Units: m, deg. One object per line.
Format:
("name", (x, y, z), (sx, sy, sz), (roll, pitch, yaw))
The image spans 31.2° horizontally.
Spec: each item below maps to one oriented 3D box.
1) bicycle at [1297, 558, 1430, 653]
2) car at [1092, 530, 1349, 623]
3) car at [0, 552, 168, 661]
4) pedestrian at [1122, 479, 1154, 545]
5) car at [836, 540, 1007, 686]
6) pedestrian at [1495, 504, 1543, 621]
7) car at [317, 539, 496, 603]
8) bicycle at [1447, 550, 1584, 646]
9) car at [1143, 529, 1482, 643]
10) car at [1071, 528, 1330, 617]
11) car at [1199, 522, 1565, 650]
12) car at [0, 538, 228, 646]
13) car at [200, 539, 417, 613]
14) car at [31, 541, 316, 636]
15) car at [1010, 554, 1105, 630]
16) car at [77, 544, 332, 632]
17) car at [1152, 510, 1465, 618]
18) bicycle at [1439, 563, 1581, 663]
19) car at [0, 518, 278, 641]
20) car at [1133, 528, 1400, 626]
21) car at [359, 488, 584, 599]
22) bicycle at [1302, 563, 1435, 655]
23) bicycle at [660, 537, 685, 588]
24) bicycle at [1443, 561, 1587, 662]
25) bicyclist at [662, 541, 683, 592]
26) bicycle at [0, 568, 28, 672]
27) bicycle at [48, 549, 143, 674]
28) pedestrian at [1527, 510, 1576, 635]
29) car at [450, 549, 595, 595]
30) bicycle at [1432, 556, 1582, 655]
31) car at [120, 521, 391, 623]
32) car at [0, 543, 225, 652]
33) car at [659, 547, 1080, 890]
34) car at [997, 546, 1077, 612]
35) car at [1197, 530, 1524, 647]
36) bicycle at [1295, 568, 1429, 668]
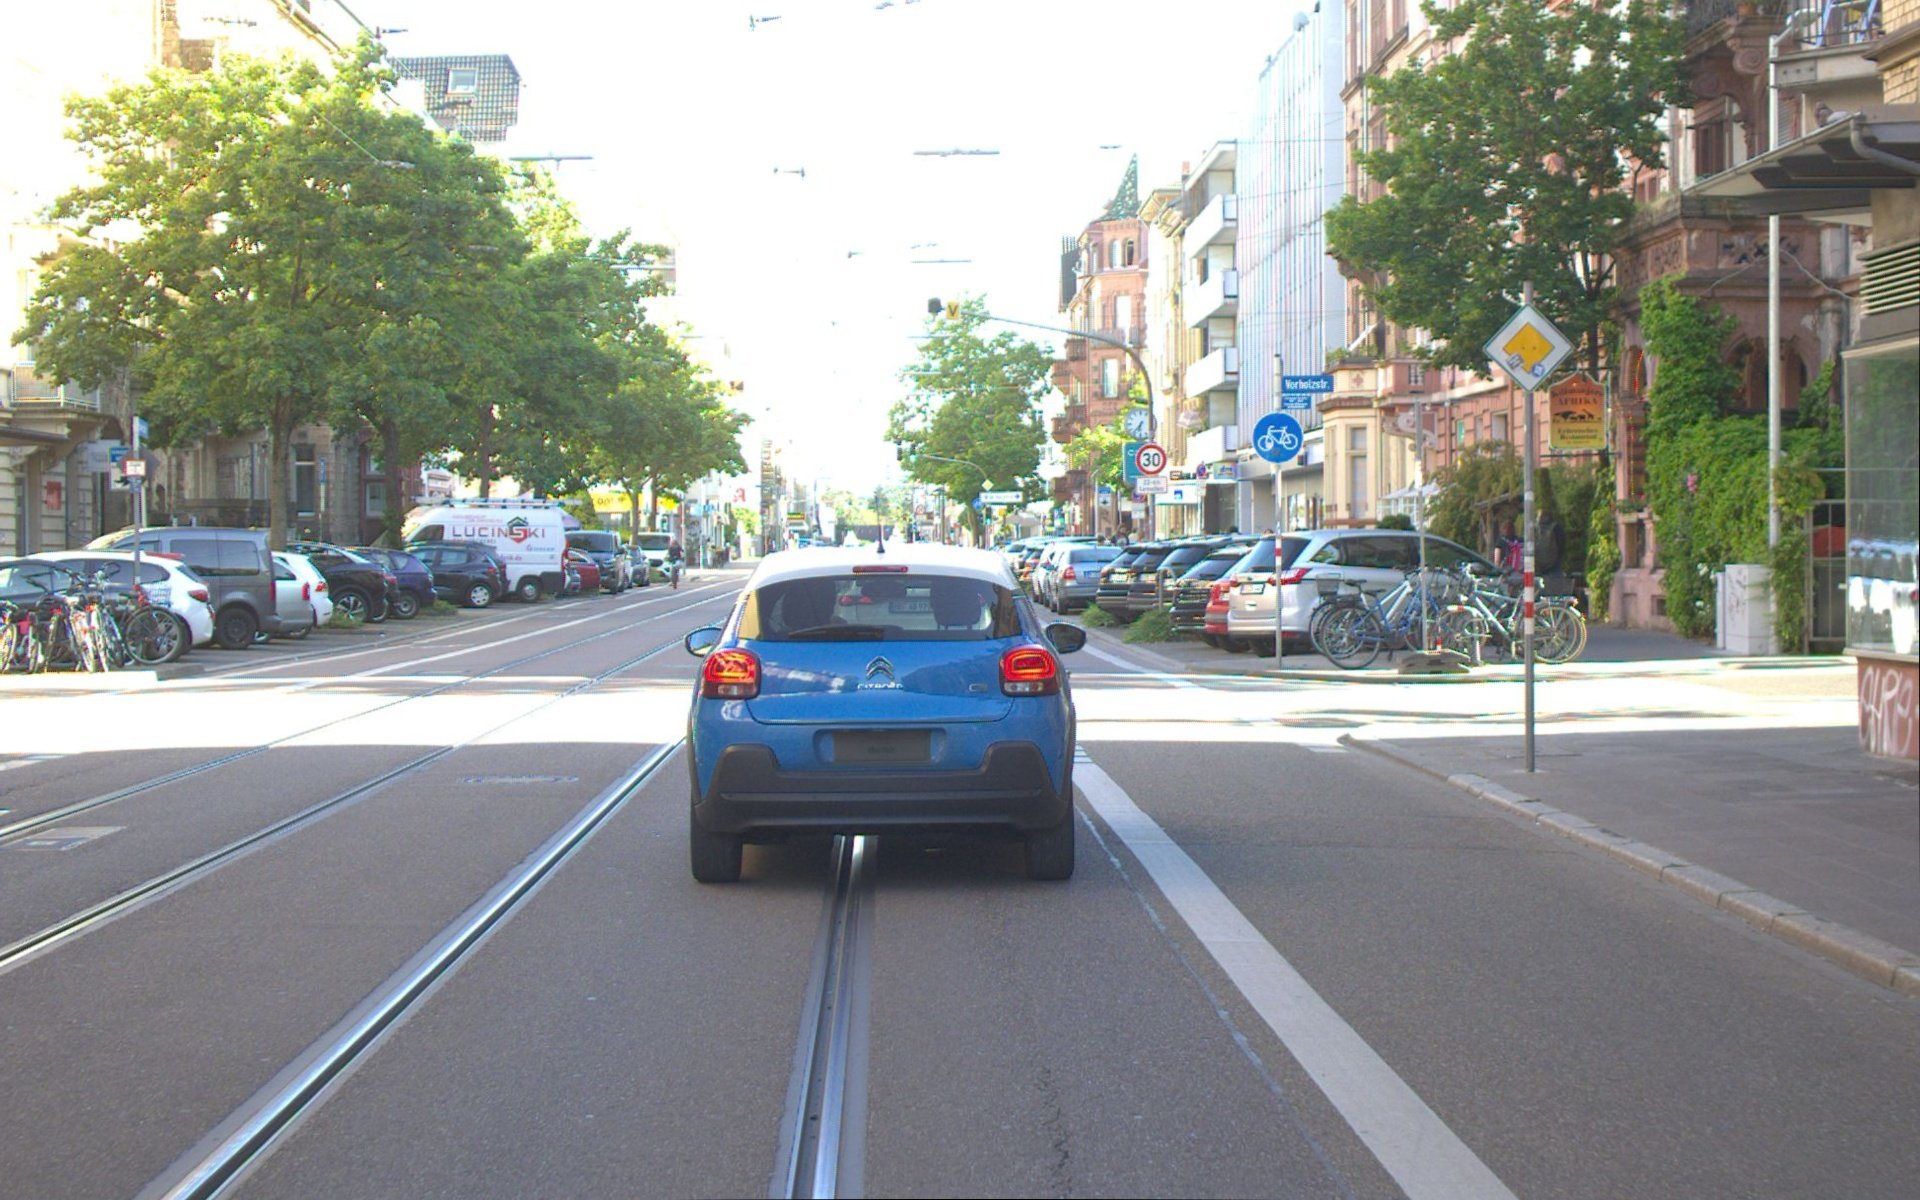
("bicycle", (4.804, 0.062, 41.010), (1.560, 1.123, 0.294), (0, 0, 6))
("car", (4.575, -0.418, 60.482), (3.986, 1.590, 2.088), (0, 1, -25))
("car", (-11.777, 0.068, 42.602), (3.460, 1.333, 1.624), (0, 1, -35))
("pedestrian", (4.329, -2.135, 83.543), (0.711, 1.601, 0.654), (0, 0, -2))
("car", (-0.446, 0.121, 39.911), (1.873, 1.590, 4.000), (0, 1, -1))
("pedestrian", (7.926, -0.535, 48.784), (0.518, 1.643, 0.864), (0, 0, -1))
("car", (-13.177, -0.685, 81.742), (3.986, 1.484, 1.807), (0, 1, -17))
("bicycle", (6.593, -0.029, 40.847), (1.556, 1.123, 0.551), (0, 0, 6))
("car", (5.106, -0.209, 49.839), (4.433, 1.590, 2.089), (0, 1, -25))
("car", (4.406, -0.500, 62.896), (4.302, 1.590, 1.983), (0, 1, -25))
("car", (5.446, -0.180, 44.337), (4.350, 1.590, 1.854), (0, 1, -25))
("car", (-11.827, -0.117, 45.521), (3.780, 1.395, 1.755), (0, 1, -34))
("car", (-13.310, -0.491, 70.284), (3.986, 1.484, 1.806), (0, 1, -29))
("car", (-12.317, -0.187, 53.921), (4.006, 1.444, 1.699), (0, 1, -33))
("car", (2.104, -0.204, 75.140), (1.873, 1.590, 4.719), (0, 1, -1))
("car", (-12.597, -0.207, 57.338), (3.831, 1.425, 1.766), (0, 1, -26))
("car", (5.318, -0.535, 52.474), (4.317, 1.590, 2.046), (0, 1, -25))
("bicycle", (6.262, 0.145, 39.182), (1.556, 1.123, 0.528), (0, 0, 6))
("car", (-12.284, -0.305, 51.177), (3.810, 1.778, 1.797), (0, 1, -29))
("car", (5.113, -0.378, 57.352), (3.986, 1.590, 1.960), (0, 1, -25))
("car", (-12.429, -1.416, 87.606), (5.370, 2.739, 1.806), (0, 1, -30))
("bicycle", (4.829, 0.103, 40.677), (1.556, 1.075, 0.307), (0, 0, 6))
("bicycle", (-9.573, -1.246, 114.647), (0.680, 1.673, 2.097), (0, 1, -1))
("bicycle", (6.226, 0.124, 38.609), (1.556, 1.123, 0.551), (0, 0, 6))
("bicyclist", (-9.583, -1.122, 114.629), (0.634, 1.675, 0.727), (0, 0, -1))
("bicycle", (-11.351, 0.207, 39.598), (0.681, 1.119, 1.888), (-1, 4, -32))
("bicycle", (-10.027, 0.117, 39.937), (0.681, 1.315, 2.436), (0, 3, -5))
("pedestrian", (8.460, -0.398, 49.189), (0.518, 1.772, 0.864), (0, 0, -1))
("car", (-12.391, -0.796, 97.437), (3.796, 1.261, 1.516), (0, 1, -26))
("bicycle", (6.318, 0.061, 39.790), (1.675, 1.123, 0.551), (0, 0, 6))
("car", (-12.688, -0.500, 61.952), (4.353, 1.777, 1.996), (0, 1, -33))
("car", (-12.323, -0.055, 48.551), (3.459, 1.468, 1.649), (-1, 2, -30))
("car", (-0.421, 0.478, 16.234), (1.762, 1.436, 3.557), (0, 1, -1))
("car", (1.908, -0.539, 86.413), (1.873, 1.590, 4.000), (0, 1, -1))
("car", (5.437, -0.157, 46.634), (3.986, 1.531, 1.919), (0, 1, -25))
("bicycle", (4.557, 0.200, 38.958), (1.397, 1.123, 0.551), (0, 1, -11))
